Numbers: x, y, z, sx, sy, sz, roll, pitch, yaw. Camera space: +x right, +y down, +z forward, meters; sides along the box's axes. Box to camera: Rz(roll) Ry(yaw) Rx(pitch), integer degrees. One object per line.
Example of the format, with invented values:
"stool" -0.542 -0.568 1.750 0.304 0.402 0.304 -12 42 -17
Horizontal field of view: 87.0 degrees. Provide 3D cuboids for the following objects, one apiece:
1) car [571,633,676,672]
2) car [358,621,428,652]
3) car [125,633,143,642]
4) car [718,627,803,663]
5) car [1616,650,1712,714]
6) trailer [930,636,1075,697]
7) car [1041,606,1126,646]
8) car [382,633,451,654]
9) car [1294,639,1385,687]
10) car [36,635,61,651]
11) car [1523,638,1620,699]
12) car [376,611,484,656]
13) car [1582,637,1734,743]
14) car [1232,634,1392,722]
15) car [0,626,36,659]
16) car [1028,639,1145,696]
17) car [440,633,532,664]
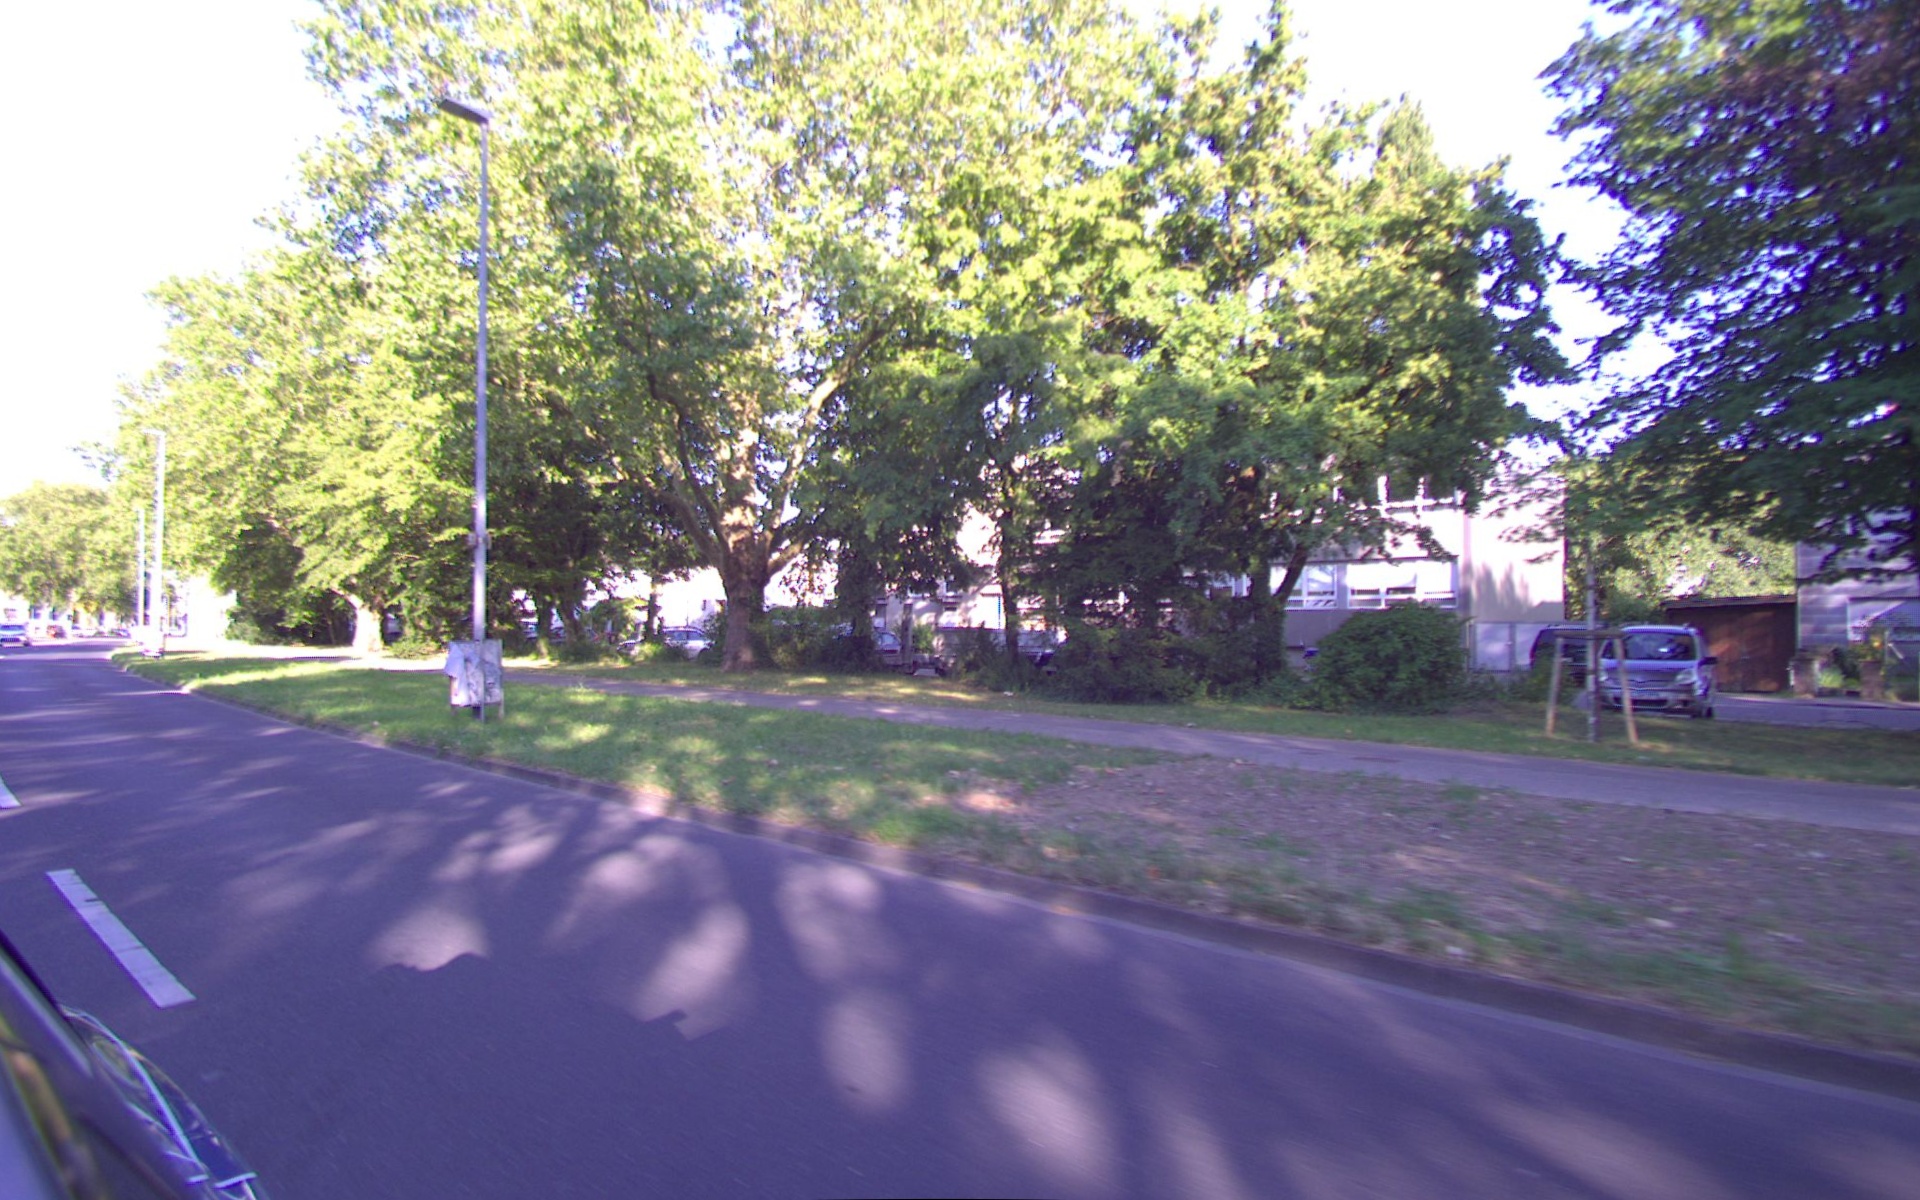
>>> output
"car" -13.666 2.106 41.225 1.765 1.475 3.691 -2 -2 40
"car" -40.436 2.621 72.250 1.908 2.060 3.943 -5 -5 43
"car" -156.547 7.196 191.869 1.870 1.602 4.082 3 -4 -28
"car" -11.534 2.591 58.683 2.000 2.029 4.495 -1 -3 42
"car" 19.671 2.219 28.215 1.928 1.614 3.947 -1 -3 39
"trailer" 1.242 1.831 28.286 2.000 1.567 3.943 -2 -4 42
"car" 5.465 1.175 44.394 1.928 1.614 3.947 -1 -3 39
"car" -37.646 3.040 70.194 3.882 1.392 1.694 3 -4 -43
"car" 13.611 2.225 36.220 1.928 1.614 3.947 -1 -3 39
"car" -98.386 4.623 109.286 1.577 1.703 4.346 3 -4 -37
"car" 18.075 1.992 29.851 1.928 1.645 3.947 -1 -3 39
"car" -32.449 2.091 62.066 5.364 2.521 2.189 5 -5 -42
"car" 12.355 1.496 17.817 1.927 1.614 3.948 -1 -3 38
"car" 7.332 1.540 20.865 1.927 1.614 3.948 -1 -3 38
"car" -60.707 2.665 64.601 1.904 2.029 4.010 2 -2 -35
"car" 3.377 1.754 26.600 1.517 1.375 3.354 -1 -3 39
"car" -25.652 2.663 54.823 1.953 1.608 4.078 -2 -4 43
